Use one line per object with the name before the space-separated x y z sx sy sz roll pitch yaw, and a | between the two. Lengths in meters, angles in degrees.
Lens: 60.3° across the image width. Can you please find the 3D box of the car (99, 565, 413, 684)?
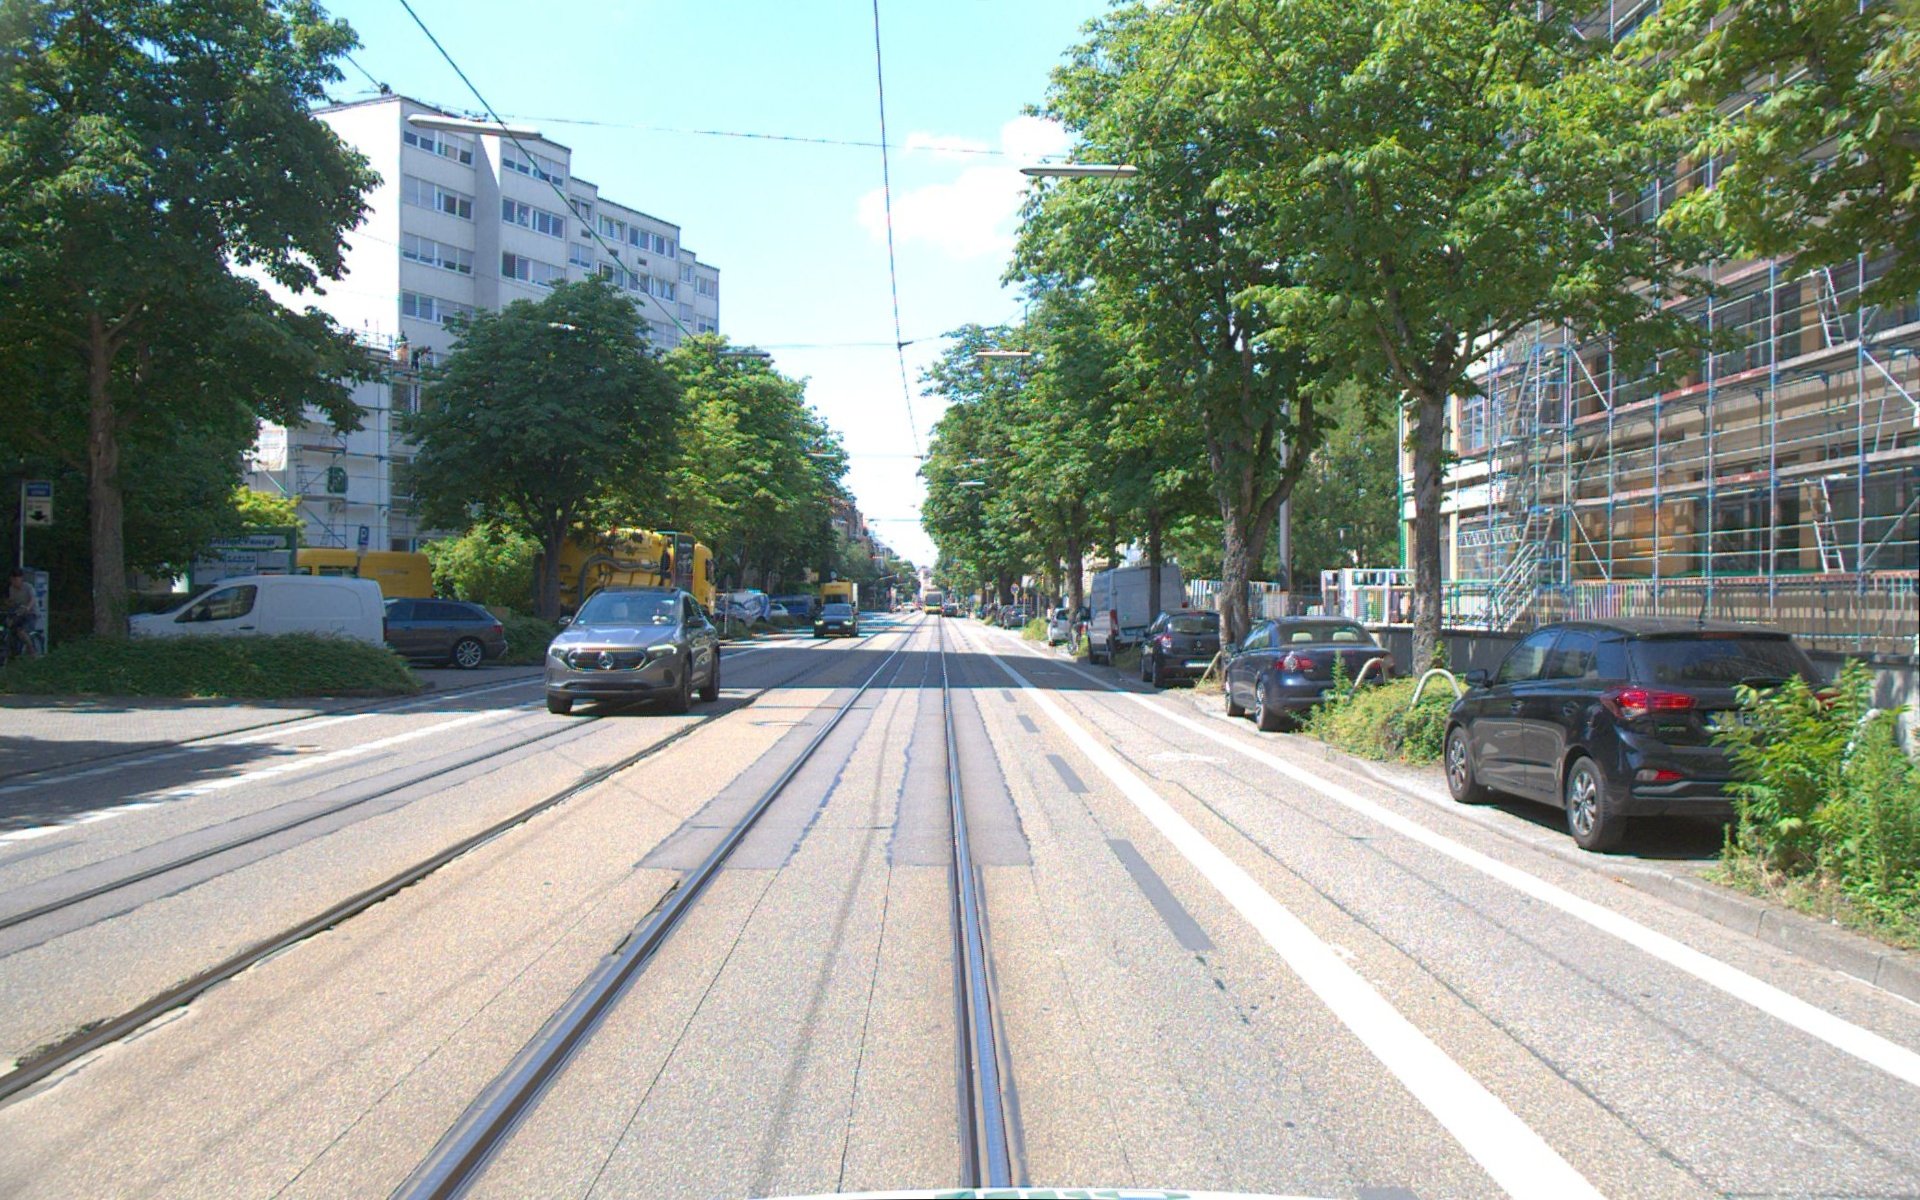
car | -11.583 0.410 27.322 4.492 1.822 1.879 2 0 -34

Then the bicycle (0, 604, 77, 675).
bicycle | -14.768 0.609 26.296 0.507 1.065 1.875 2 0 -3

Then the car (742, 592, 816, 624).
car | -11.591 0.511 106.319 1.815 1.990 4.701 -1 0 43

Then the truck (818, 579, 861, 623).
truck | -8.163 0.079 112.816 2.312 2.902 7.378 -1 0 1

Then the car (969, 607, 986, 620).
car | 1.879 1.445 175.980 1.676 1.448 4.308 0 -1 -1

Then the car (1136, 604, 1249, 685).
car | 4.621 0.841 33.441 1.786 1.497 4.401 0 0 2

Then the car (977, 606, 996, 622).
car | 2.527 1.366 157.643 1.676 1.448 4.308 0 -1 -1

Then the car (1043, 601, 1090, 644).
car | 4.084 0.845 63.795 1.610 1.561 3.785 0 0 1

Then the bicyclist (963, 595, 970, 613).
bicyclist | 0.597 0.366 155.133 0.609 1.644 0.864 2 -2 -2

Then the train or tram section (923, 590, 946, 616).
train or tram section | -3.536 0.466 232.708 2.973 3.499 11.969 0 0 0

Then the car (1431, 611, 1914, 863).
car | 4.825 0.829 11.877 1.637 1.463 4.040 0 0 -2

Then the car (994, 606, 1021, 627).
car | 3.325 1.175 116.425 1.676 1.448 4.242 0 -1 -1

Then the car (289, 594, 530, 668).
car | -11.334 0.648 34.218 4.405 1.419 1.747 2 0 -40

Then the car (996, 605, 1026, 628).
car | 3.374 1.080 109.678 1.838 1.480 4.527 0 -1 0

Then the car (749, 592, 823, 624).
car | -11.808 0.543 112.502 4.718 2.098 1.997 -1 0 -40

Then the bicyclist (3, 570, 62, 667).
bicyclist | -14.760 0.291 26.335 0.471 1.507 0.780 2 0 -3

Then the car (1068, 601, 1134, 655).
car | 4.320 0.833 51.072 1.611 1.561 3.946 0 0 -1

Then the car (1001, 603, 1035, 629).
car | 3.395 0.941 97.251 1.606 1.511 3.869 0 -1 -4

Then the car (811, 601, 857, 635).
car | -5.438 0.758 71.670 1.738 1.422 4.286 0 0 -1

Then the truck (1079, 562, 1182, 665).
truck | 4.443 0.325 43.891 1.973 2.532 5.954 0 0 -1

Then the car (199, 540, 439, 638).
car | -18.600 -0.250 48.452 2.137 2.611 6.712 0 -2 29

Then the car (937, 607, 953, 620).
car | -1.676 1.495 183.586 1.745 1.369 3.415 0 0 -1

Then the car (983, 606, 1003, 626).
car | 2.758 1.345 138.413 1.560 1.645 3.906 0 -1 -1

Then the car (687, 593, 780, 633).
car | -11.771 0.652 86.367 1.887 1.968 4.729 -2 -1 41

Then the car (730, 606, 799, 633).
car | -11.749 1.189 99.747 1.730 1.458 3.978 -3 -1 41

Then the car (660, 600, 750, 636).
car | -11.249 0.775 73.192 1.731 1.533 3.687 -1 0 42

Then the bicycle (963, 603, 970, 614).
bicycle | 0.610 0.818 155.048 0.626 0.986 1.780 2 -2 -2

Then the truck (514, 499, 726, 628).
truck | -11.360 -1.061 56.847 2.657 3.909 10.972 2 -1 13

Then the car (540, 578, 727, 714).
car | -4.384 0.571 22.807 1.793 1.710 4.184 0 0 -1

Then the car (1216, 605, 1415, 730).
car | 4.711 0.838 22.547 1.787 1.497 4.486 0 0 0
